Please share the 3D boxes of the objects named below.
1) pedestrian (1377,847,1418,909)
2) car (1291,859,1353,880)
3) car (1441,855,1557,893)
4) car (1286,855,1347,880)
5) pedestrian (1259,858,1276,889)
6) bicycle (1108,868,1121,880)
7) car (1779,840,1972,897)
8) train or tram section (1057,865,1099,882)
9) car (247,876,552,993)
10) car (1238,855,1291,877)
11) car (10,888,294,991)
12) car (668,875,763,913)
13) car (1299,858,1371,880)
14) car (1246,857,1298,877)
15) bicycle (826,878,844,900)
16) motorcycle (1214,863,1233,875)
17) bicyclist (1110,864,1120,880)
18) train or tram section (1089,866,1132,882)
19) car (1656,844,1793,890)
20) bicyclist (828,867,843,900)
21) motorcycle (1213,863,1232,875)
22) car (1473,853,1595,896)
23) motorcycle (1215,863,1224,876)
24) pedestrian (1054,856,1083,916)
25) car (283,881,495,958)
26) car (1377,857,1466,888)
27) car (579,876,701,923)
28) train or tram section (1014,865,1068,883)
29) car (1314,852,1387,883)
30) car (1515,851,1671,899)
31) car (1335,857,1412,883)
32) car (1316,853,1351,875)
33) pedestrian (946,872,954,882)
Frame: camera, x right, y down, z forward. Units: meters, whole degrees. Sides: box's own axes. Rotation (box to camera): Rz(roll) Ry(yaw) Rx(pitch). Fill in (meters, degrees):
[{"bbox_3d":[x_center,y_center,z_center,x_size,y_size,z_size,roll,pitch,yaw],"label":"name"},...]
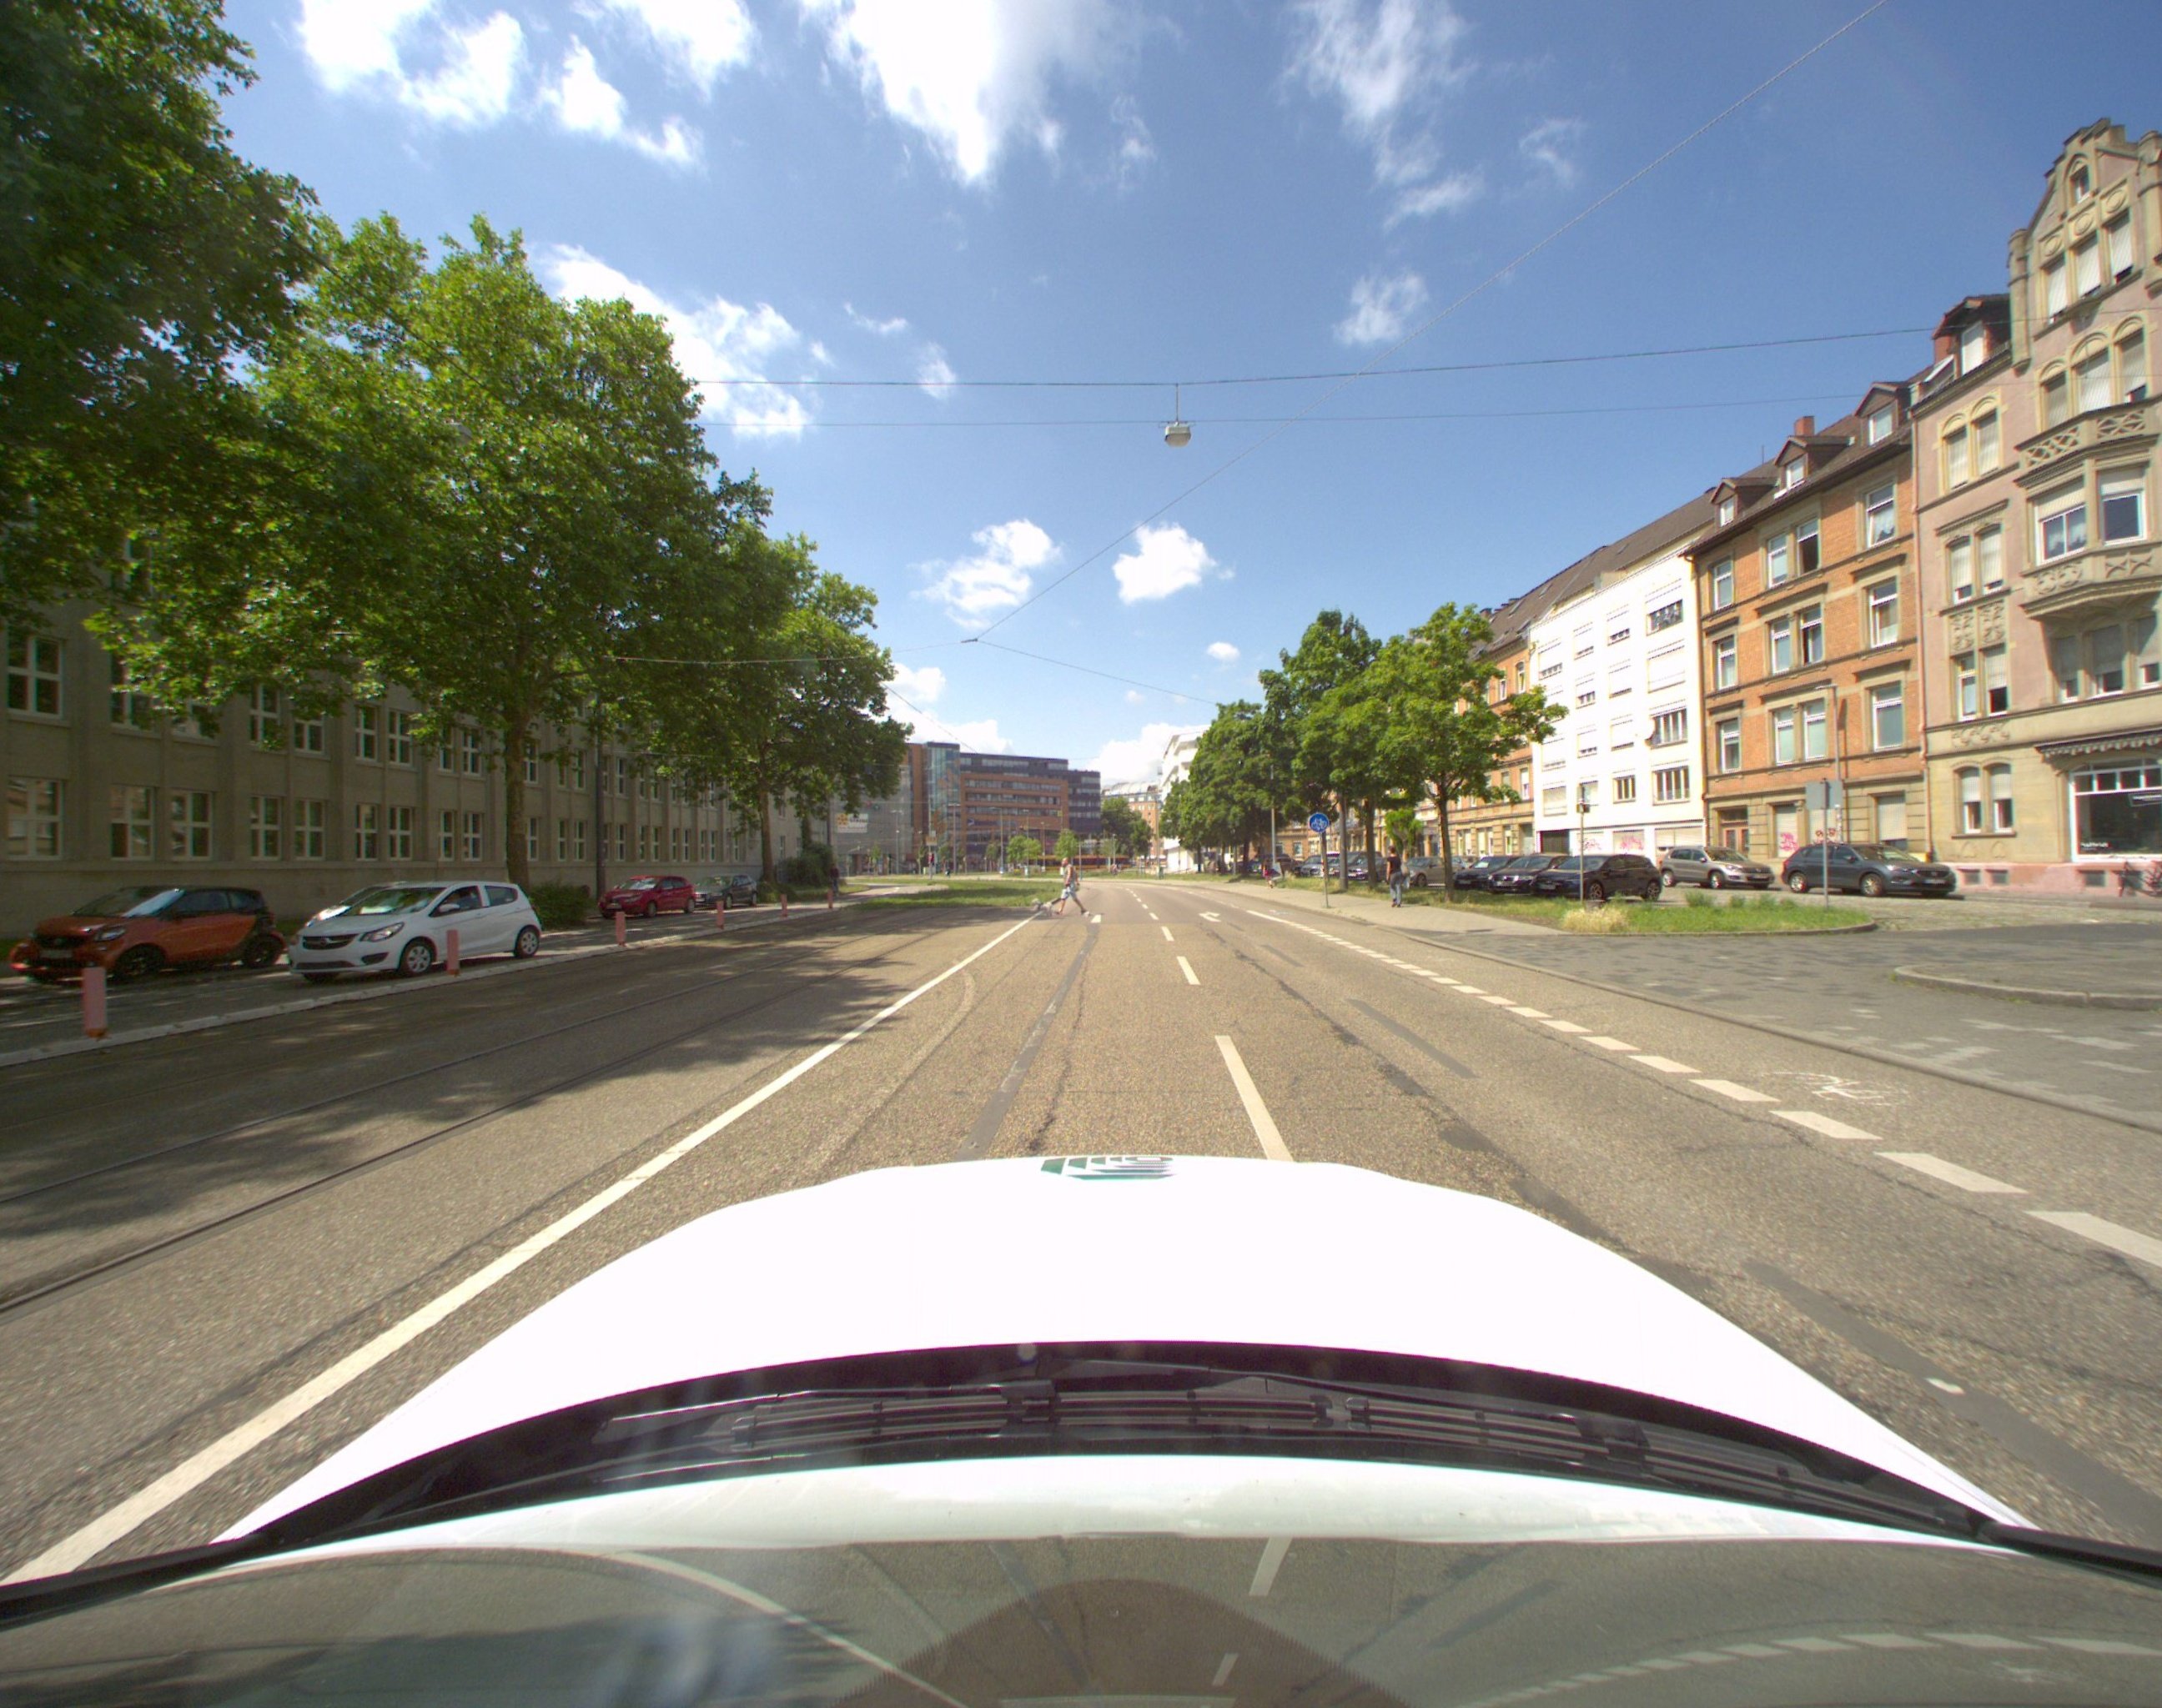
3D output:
[{"bbox_3d":[9.036,0.686,23.304,0.698,1.704,1.045,-2,-1,1],"label":"pedestrian"},{"bbox_3d":[16.457,1.053,55.541,4.100,1.406,1.833,1,-2,-34],"label":"car"},{"bbox_3d":[15.916,0.758,30.980,4.008,1.380,1.945,1,-1,-26],"label":"car"},{"bbox_3d":[17.011,0.978,58.708,4.161,1.741,1.835,1,-2,-29],"label":"car"},{"bbox_3d":[9.722,1.029,42.507,0.698,1.592,0.905,0,-1,1],"label":"pedestrian"},{"bbox_3d":[4.005,2.368,96.845,0.687,1.242,1.851,-3,0,32],"label":"bicycle"},{"bbox_3d":[24.251,0.458,25.132,1.823,1.615,4.501,0,-1,5],"label":"car"},{"bbox_3d":[-0.650,4.359,180.784,3.025,3.603,11.061,-1,-2,38],"label":"train or tram section"},{"bbox_3d":[-10.977,1.199,13.541,1.754,1.480,3.788,-3,0,1],"label":"car"},{"bbox_3d":[16.728,1.080,74.280,4.642,1.927,1.898,1,-2,-29],"label":"car"},{"bbox_3d":[-15.642,1.373,13.933,1.482,1.454,2.882,1,0,0],"label":"car"},{"bbox_3d":[-14.984,1.607,33.640,1.920,1.369,4.317,1,0,0],"label":"car"},{"bbox_3d":[16.336,0.984,52.309,4.710,1.380,1.833,1,-2,-33],"label":"car"},{"bbox_3d":[16.753,1.152,71.286,4.181,1.656,1.901,1,-1,-25],"label":"car"},{"bbox_3d":[-13.094,1.861,43.444,0.792,1.110,2.265,0,-1,-14],"label":"bicycle"},{"bbox_3d":[14.387,1.527,82.080,1.777,1.167,0.640,-1,-1,0],"label":"motorcycle"},{"bbox_3d":[4.037,2.089,96.934,0.687,1.824,0.962,-3,0,33],"label":"bicyclist"},{"bbox_3d":[7.045,4.551,190.137,3.025,3.621,12.714,-1,-2,39],"label":"train or tram section"},{"bbox_3d":[24.531,0.506,31.293,1.825,1.615,4.498,0,-1,2],"label":"car"},{"bbox_3d":[-13.133,1.570,43.608,0.763,1.704,0.779,1,-2,-15],"label":"bicyclist"},{"bbox_3d":[14.409,1.540,82.963,1.777,1.167,0.640,-1,-1,0],"label":"motorcycle"},{"bbox_3d":[15.602,0.703,28.009,4.013,1.380,1.942,1,-2,-31],"label":"car"},{"bbox_3d":[13.510,1.499,79.457,0.633,1.167,1.914,-1,-1,14],"label":"motorcycle"},{"bbox_3d":[-0.366,0.927,23.833,0.777,1.704,0.703,0,-2,3],"label":"pedestrian"},{"bbox_3d":[-15.417,1.402,18.412,1.741,1.454,3.491,1,0,0],"label":"car"},{"bbox_3d":[16.026,0.885,38.222,4.286,1.380,1.832,1,-2,-35],"label":"car"},{"bbox_3d":[-15.358,1.538,28.623,1.918,1.420,4.052,1,0,2],"label":"car"},{"bbox_3d":[-8.190,4.161,171.069,3.185,3.600,13.584,-1,-2,38],"label":"train or tram section"},{"bbox_3d":[16.042,0.810,48.383,4.383,1.741,1.832,1,-2,-35],"label":"car"},{"bbox_3d":[15.251,0.622,24.281,4.001,1.354,1.948,1,-1,-21],"label":"car"},{"bbox_3d":[16.046,0.883,44.611,4.286,1.380,1.832,1,-2,-35],"label":"car"},{"bbox_3d":[25.424,1.032,82.208,2.102,2.179,5.396,0,-1,2],"label":"car"},{"bbox_3d":[-21.100,3.700,131.244,0.907,1.702,0.813,-2,-1,26],"label":"pedestrian"}]
